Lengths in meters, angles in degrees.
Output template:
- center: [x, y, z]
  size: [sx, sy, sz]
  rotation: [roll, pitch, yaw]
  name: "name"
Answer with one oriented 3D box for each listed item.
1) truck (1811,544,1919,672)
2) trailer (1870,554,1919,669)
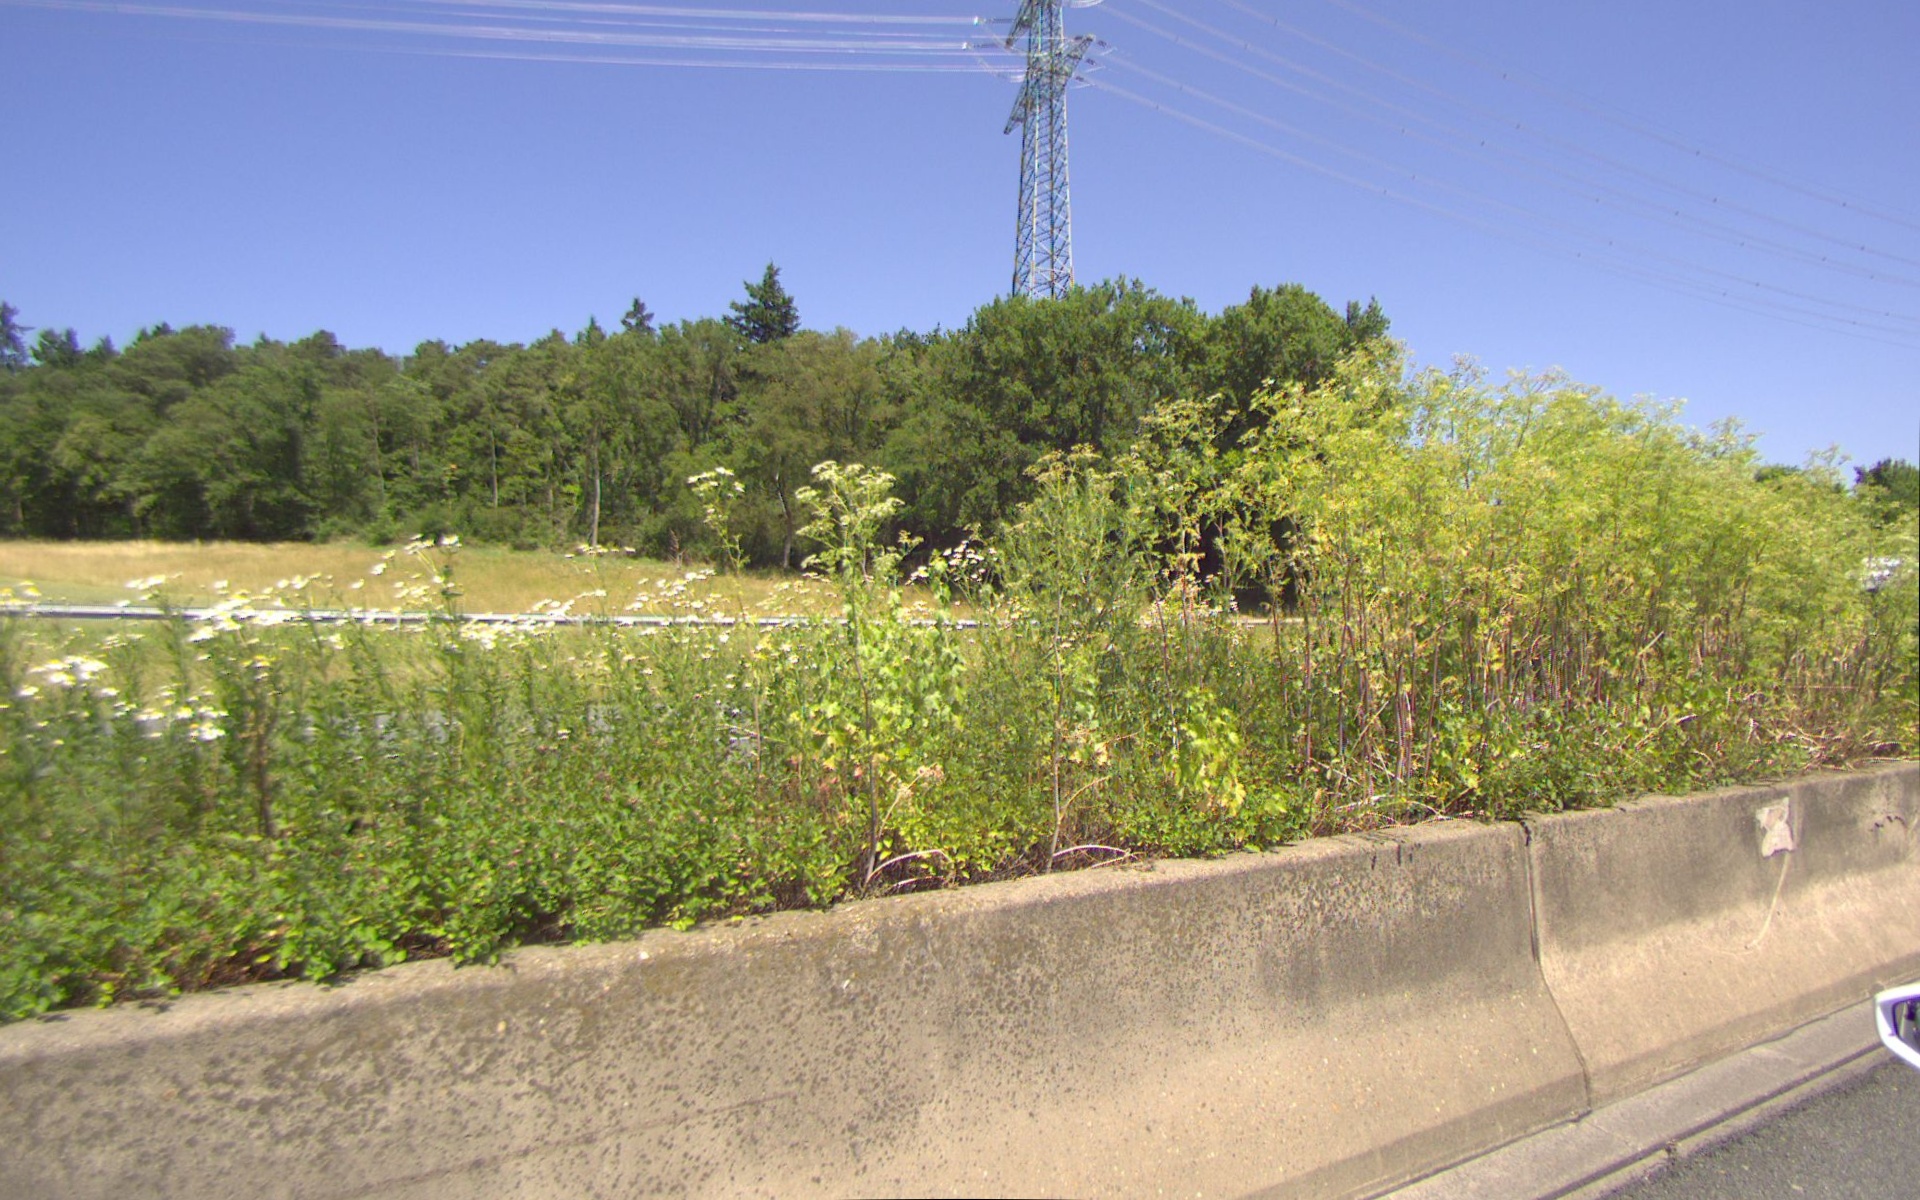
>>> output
- center: [34.297, 0.354, 36.471]
  size: [6.604, 4.284, 2.999]
  rotation: [2, 0, -29]
  name: "truck"
- center: [40.449, 0.576, 39.877]
  size: [10.846, 4.284, 2.999]
  rotation: [2, 0, -29]
  name: "trailer"
